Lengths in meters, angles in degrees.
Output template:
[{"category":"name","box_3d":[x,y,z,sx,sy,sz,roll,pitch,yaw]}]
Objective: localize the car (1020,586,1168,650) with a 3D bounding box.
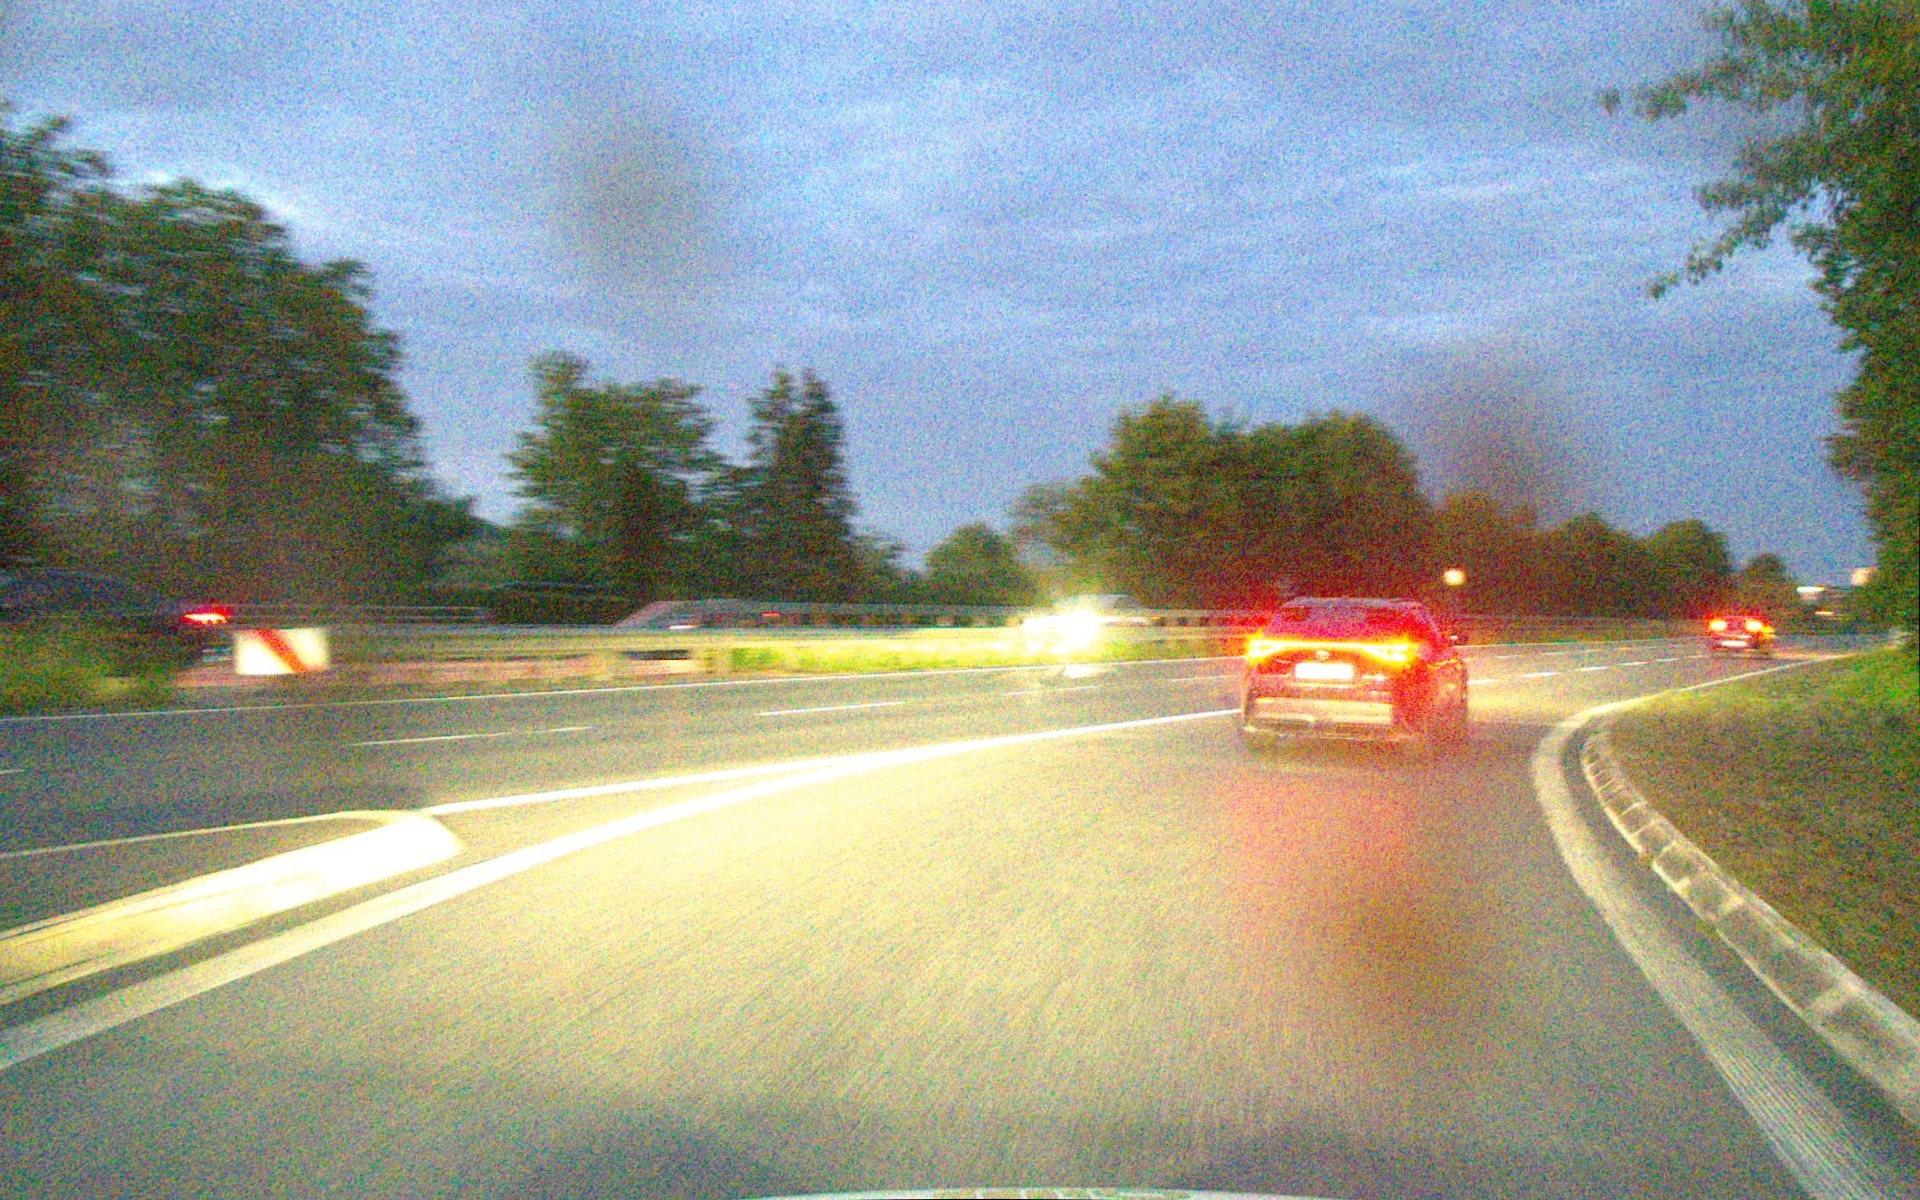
[{"category":"car","box_3d":[3.612,0.484,43.783,1.957,1.597,4.810,0,-1,32]}]

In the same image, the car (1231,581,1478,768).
[{"category":"car","box_3d":[4.344,0.689,17.671,1.862,1.648,4.555,3,1,22]}]

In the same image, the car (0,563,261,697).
[{"category":"car","box_3d":[-11.039,0.343,19.444,1.957,1.478,5.035,0,-1,31]}]

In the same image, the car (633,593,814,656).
[{"category":"car","box_3d":[-5.809,0.607,41.259,1.957,1.478,4.724,0,-1,31]}]

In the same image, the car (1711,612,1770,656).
[{"category":"car","box_3d":[27.707,1.184,58.653,1.719,1.478,4.427,1,0,27]}]
